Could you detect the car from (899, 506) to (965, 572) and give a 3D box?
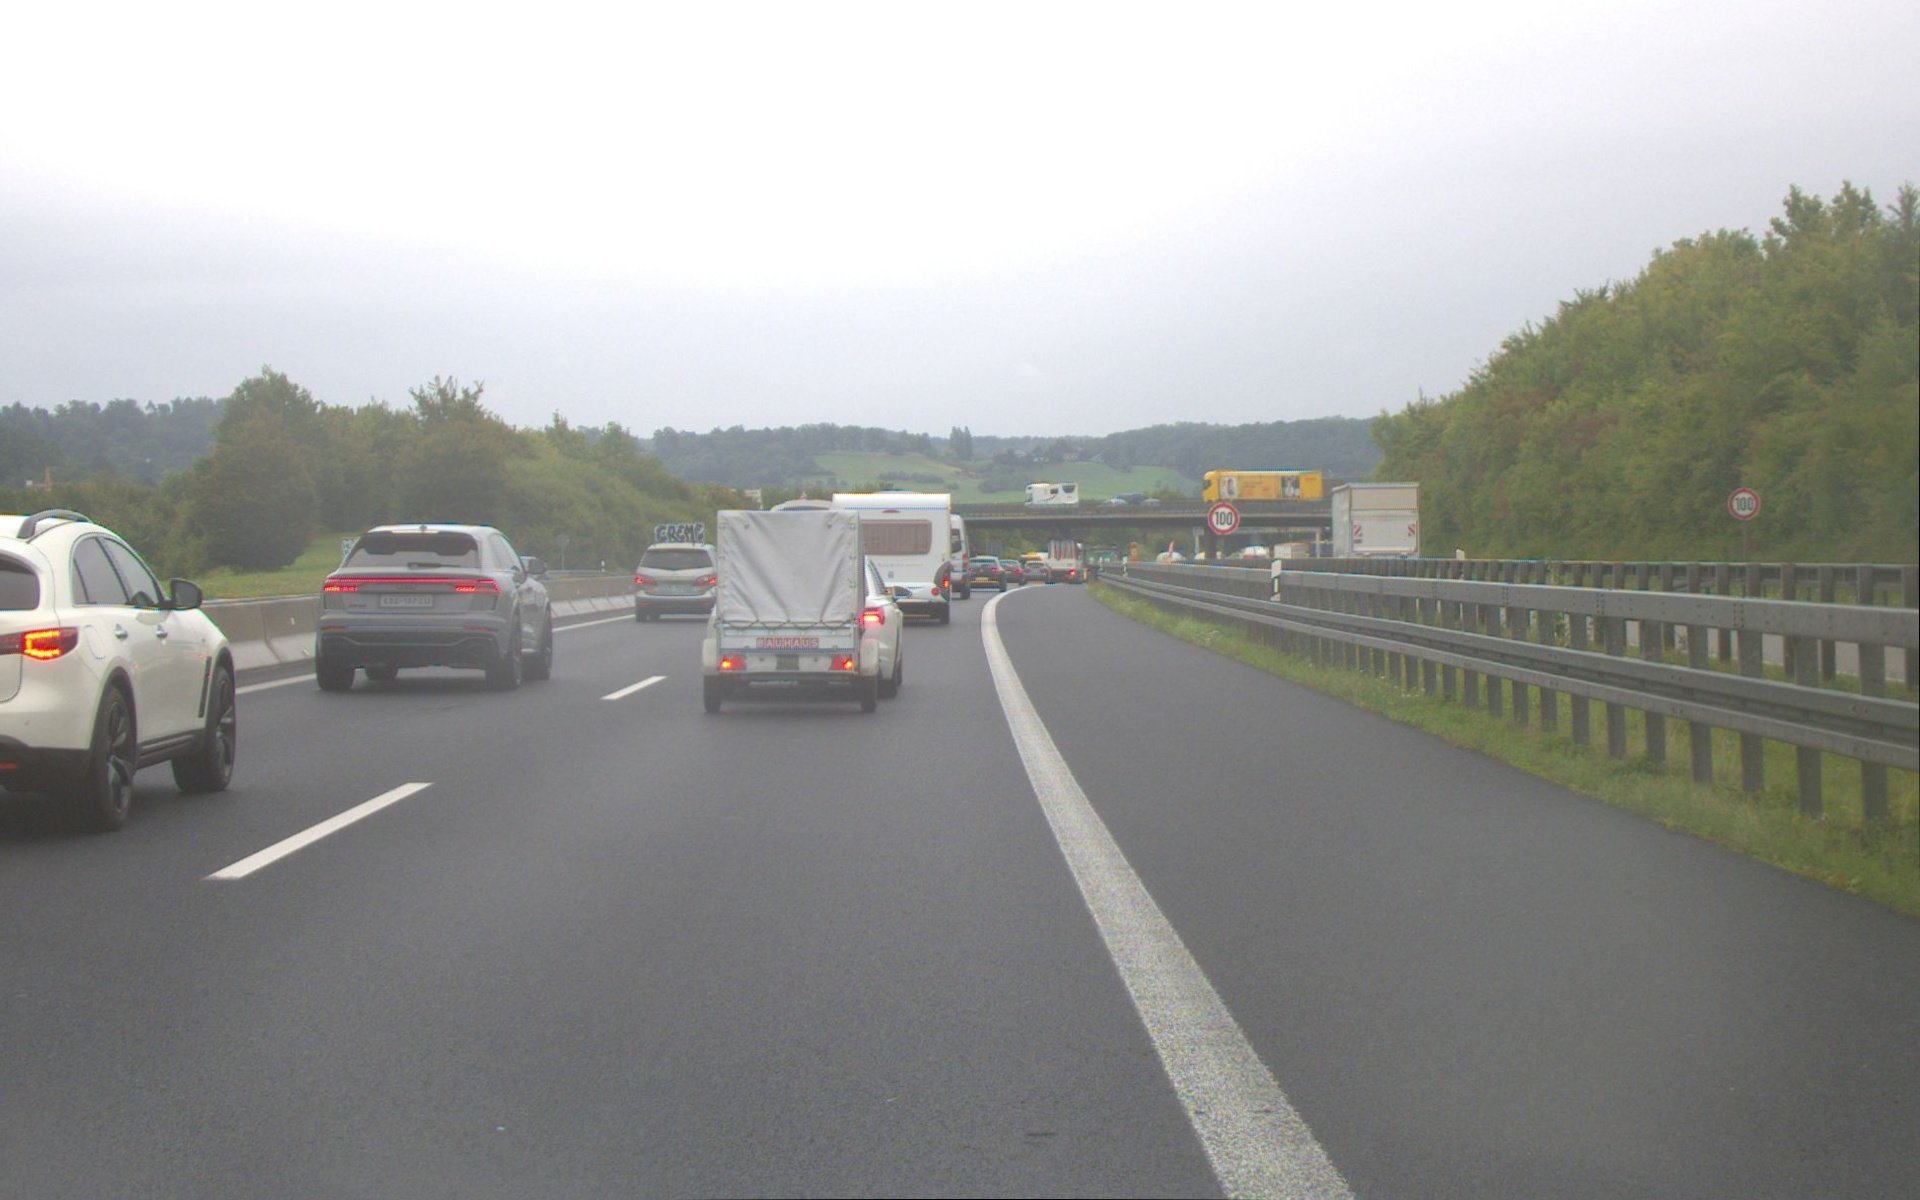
[{"bbox_3d":[-0.908,-1.931,108.947,1.993,2.029,4.152,1,1,-1],"label":"car"}]

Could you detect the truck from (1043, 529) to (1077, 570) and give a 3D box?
[{"bbox_3d":[7.590,-3.790,259.918,2.278,3.072,7.245,1,1,4],"label":"truck"}]

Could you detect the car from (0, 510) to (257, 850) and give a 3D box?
[{"bbox_3d":[-5.238,0.358,18.741,1.976,1.633,4.501,0,1,-1],"label":"car"}]

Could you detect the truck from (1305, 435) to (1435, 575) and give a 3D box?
[{"bbox_3d":[15.474,-3.582,130.566,4.094,5.086,10.463,0,1,3],"label":"truck"}]

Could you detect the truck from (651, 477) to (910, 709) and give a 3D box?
[{"bbox_3d":[-1.594,-0.125,33.054,2.019,1.979,7.213,0,1,1],"label":"truck"}]

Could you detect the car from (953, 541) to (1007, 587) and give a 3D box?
[{"bbox_3d":[0.801,-1.423,135.829,1.994,1.744,4.000,1,1,2],"label":"car"}]

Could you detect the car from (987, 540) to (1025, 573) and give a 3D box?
[{"bbox_3d":[2.596,-2.421,191.776,1.994,1.744,4.000,1,1,3],"label":"car"}]

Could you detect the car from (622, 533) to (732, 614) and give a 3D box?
[{"bbox_3d":[-5.784,-0.560,70.664,1.900,1.607,4.017,0,1,0],"label":"car"}]

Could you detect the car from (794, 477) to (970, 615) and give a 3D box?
[{"bbox_3d":[-1.479,-1.092,68.324,3.017,2.607,6.074,0,1,3],"label":"car"}]

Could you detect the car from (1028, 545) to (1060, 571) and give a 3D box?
[{"bbox_3d":[5.673,-2.836,233.077,1.994,1.744,4.000,1,1,4],"label":"car"}]

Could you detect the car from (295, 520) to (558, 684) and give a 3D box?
[{"bbox_3d":[-5.558,-0.009,36.369,2.174,1.626,4.501,0,1,-1],"label":"car"}]
